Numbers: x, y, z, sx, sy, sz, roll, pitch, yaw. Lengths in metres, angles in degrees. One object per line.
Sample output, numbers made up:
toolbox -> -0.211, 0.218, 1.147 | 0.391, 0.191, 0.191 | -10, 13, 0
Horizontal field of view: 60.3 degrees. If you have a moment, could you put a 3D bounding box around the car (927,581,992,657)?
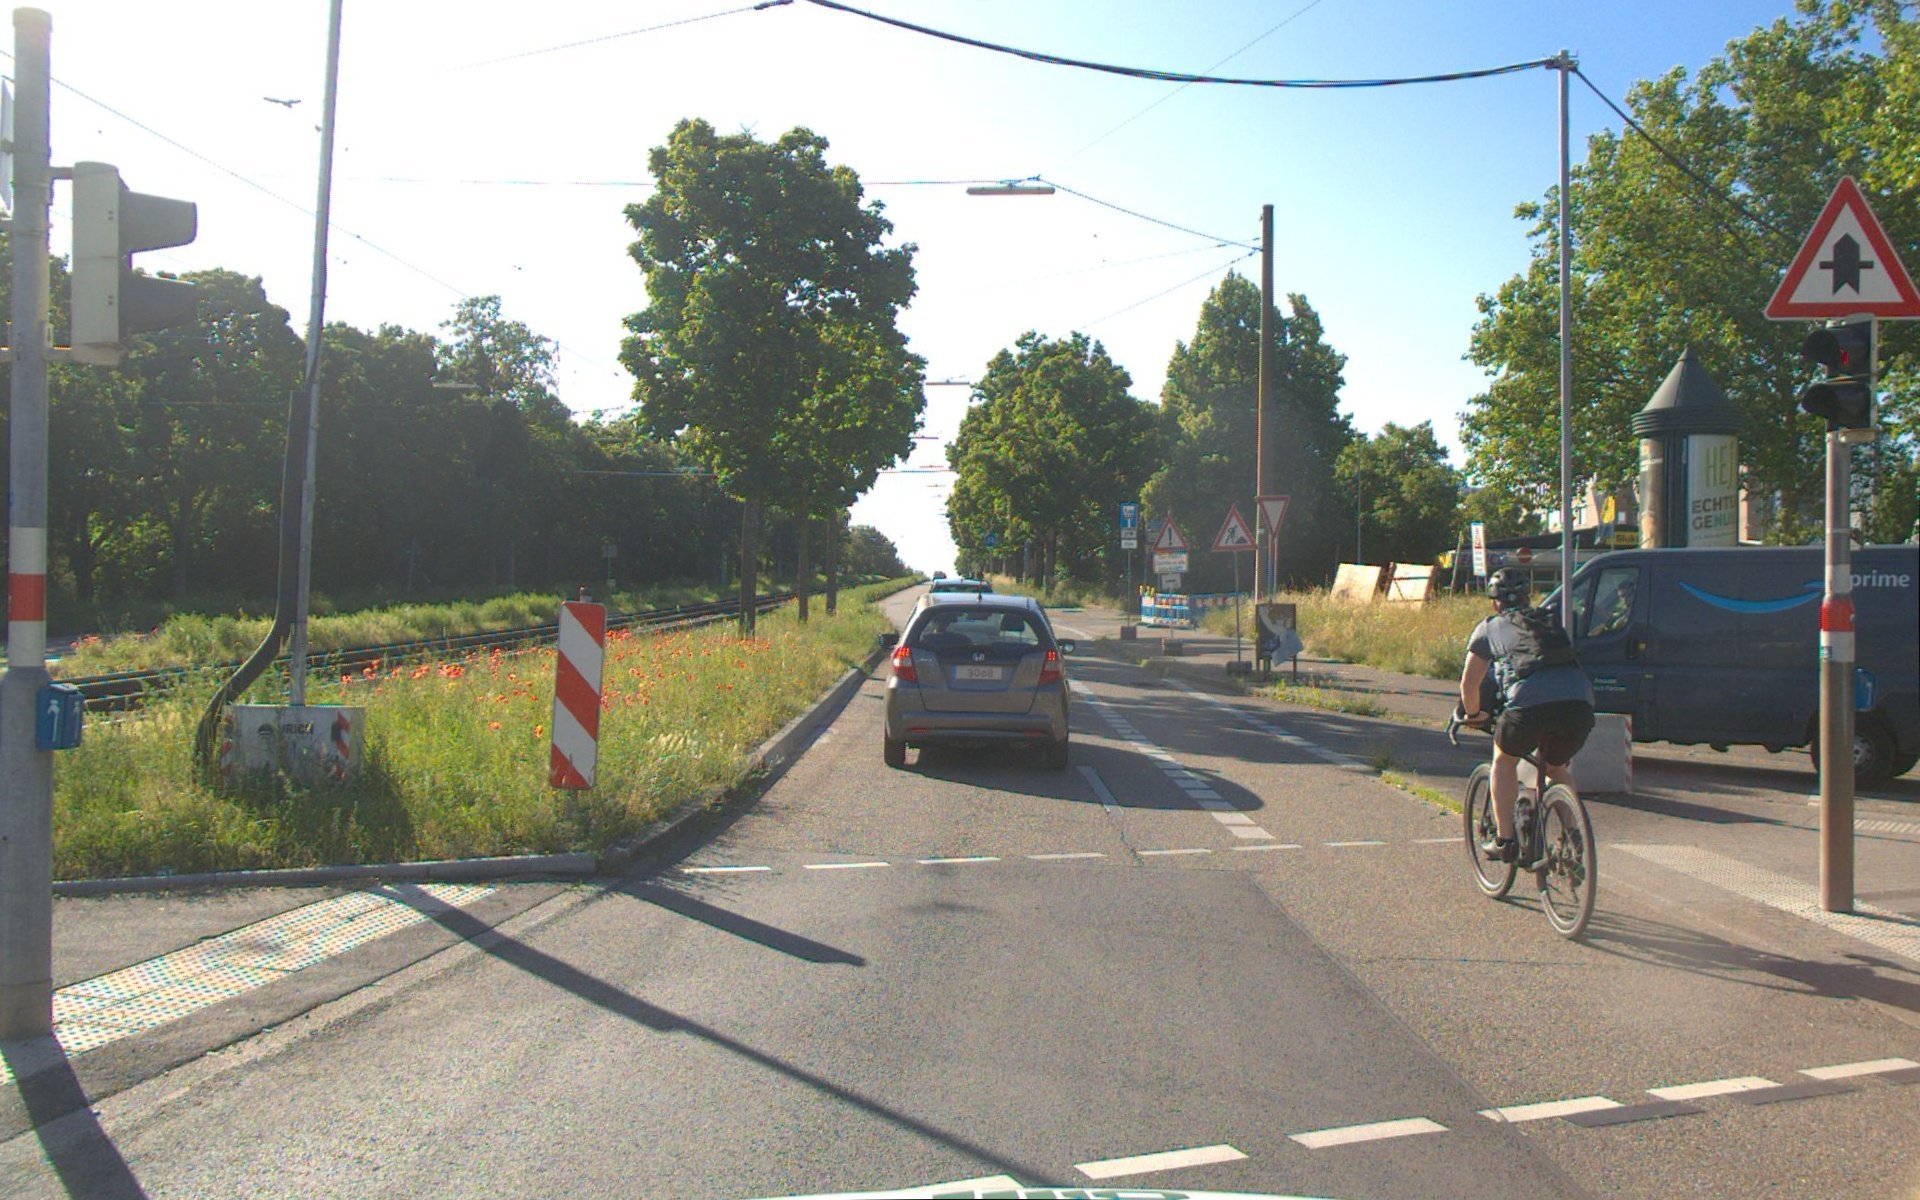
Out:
car -> 0.012, 0.394, 35.373 | 1.323, 1.554, 3.123 | 0, 0, 1

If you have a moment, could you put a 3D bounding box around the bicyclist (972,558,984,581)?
bicyclist -> 1.288, -2.152, 116.499 | 0.801, 1.551, 0.966 | 1, -1, 1

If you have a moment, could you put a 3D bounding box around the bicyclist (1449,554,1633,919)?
bicyclist -> 2.861, 0.640, 8.222 | 0.602, 1.709, 0.933 | 0, 0, 1

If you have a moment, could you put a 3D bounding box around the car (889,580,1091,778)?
car -> 0.248, 0.642, 15.755 | 1.636, 1.541, 3.674 | 2, 2, 0

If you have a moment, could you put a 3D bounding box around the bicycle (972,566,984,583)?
bicycle -> 1.270, -1.785, 116.475 | 0.801, 1.066, 2.506 | 1, -1, 1

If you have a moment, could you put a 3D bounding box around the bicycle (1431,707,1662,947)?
bicycle -> 2.918, 1.081, 8.437 | 0.513, 0.939, 2.090 | 0, 0, 2

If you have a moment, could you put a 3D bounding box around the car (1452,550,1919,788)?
car -> 7.767, 0.600, 16.609 | 5.022, 2.106, 2.121 | 1, 0, 39

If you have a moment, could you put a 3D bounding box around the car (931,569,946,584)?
car -> -3.125, -3.418, 240.884 | 1.952, 2.049, 4.000 | -1, 0, 1
